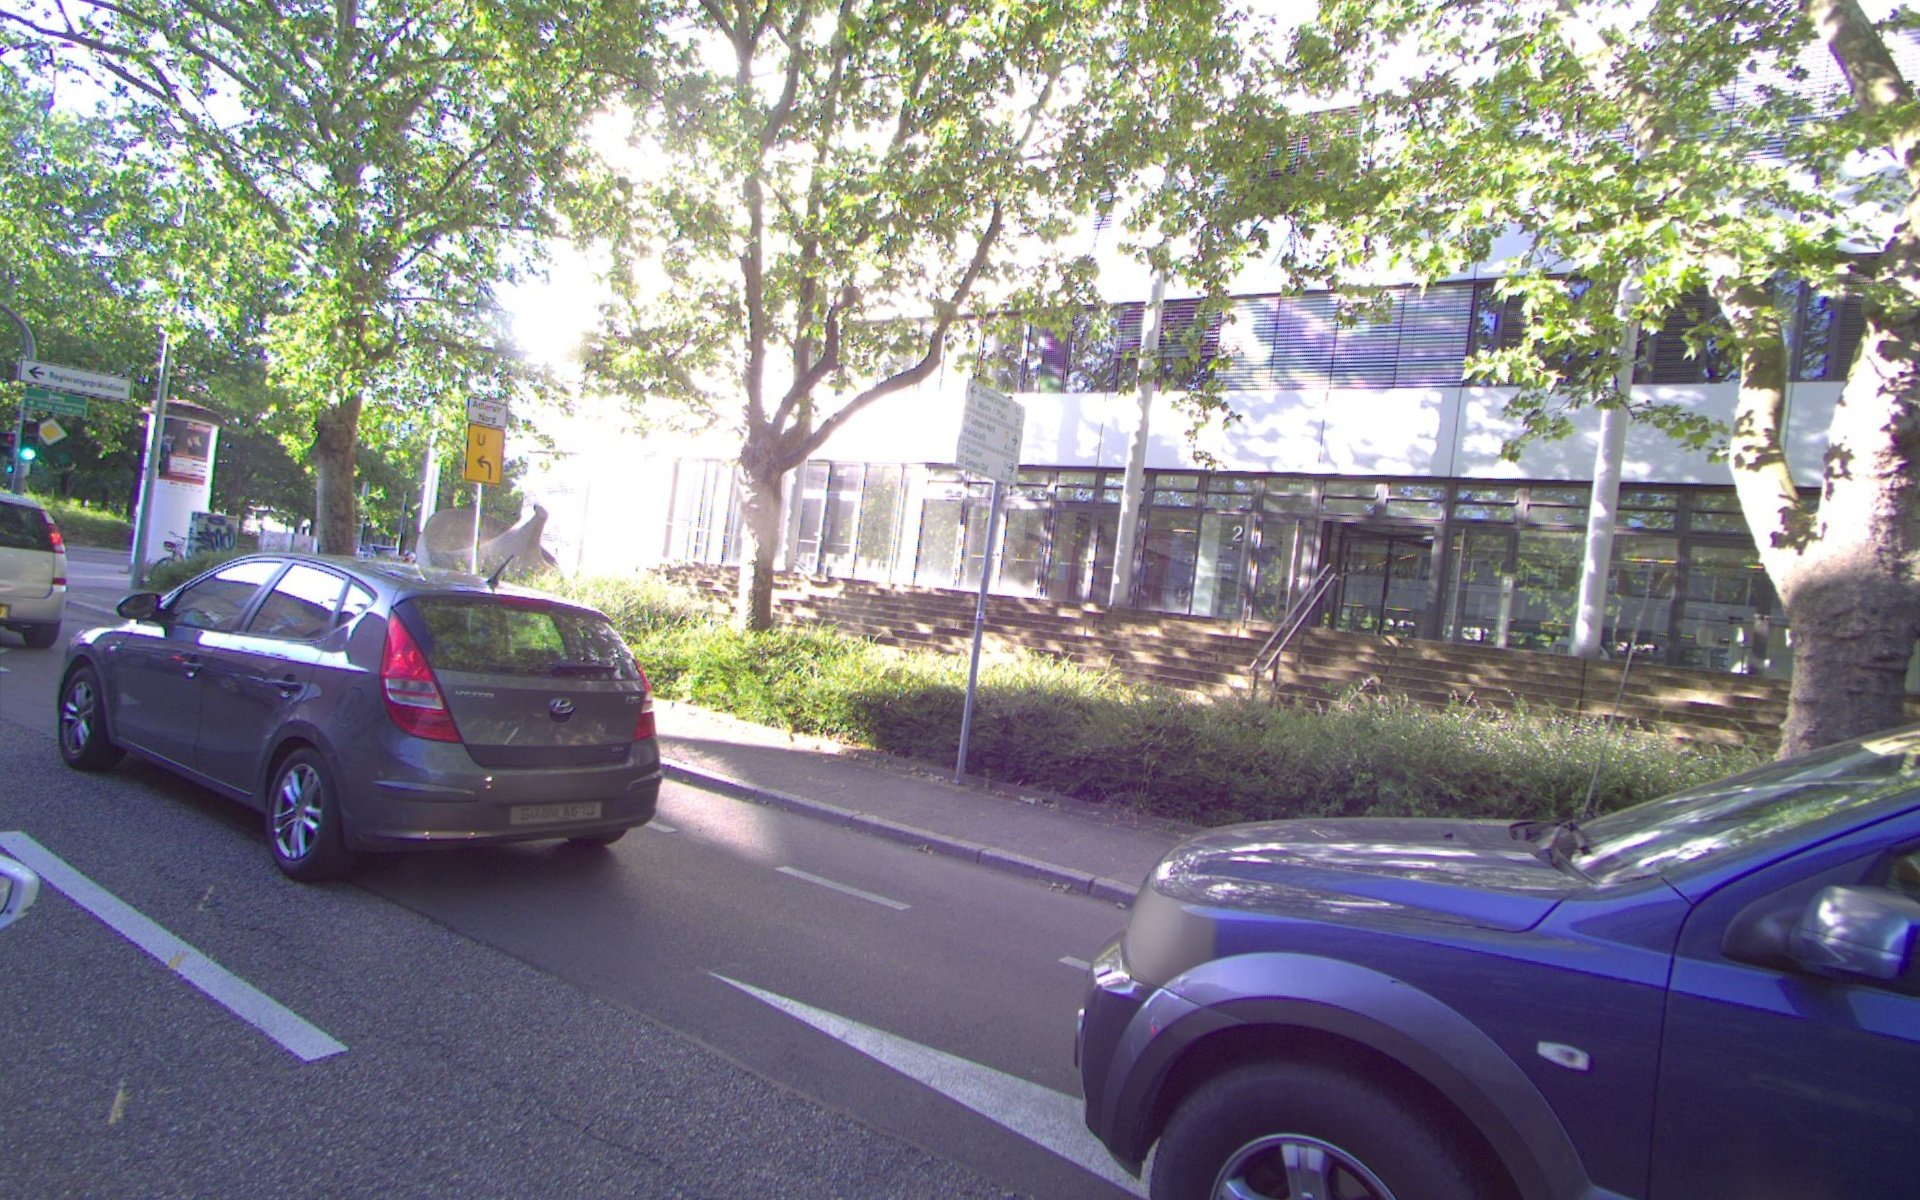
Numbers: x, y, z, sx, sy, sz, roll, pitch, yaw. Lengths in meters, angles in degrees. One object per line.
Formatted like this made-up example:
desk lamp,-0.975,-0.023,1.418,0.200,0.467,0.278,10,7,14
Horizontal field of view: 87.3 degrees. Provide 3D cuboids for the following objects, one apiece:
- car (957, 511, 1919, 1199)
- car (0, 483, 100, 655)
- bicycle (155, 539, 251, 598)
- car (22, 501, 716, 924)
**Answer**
car,2.419,0.980,2.009,4.407,1.784,1.865,7,-1,32
car,-11.235,-0.503,10.914,3.620,1.681,1.734,6,-2,32
bicycle,-15.934,-0.636,21.239,0.631,1.040,1.887,7,-2,-5
car,-3.531,0.433,5.833,3.934,1.537,1.708,7,-1,32
